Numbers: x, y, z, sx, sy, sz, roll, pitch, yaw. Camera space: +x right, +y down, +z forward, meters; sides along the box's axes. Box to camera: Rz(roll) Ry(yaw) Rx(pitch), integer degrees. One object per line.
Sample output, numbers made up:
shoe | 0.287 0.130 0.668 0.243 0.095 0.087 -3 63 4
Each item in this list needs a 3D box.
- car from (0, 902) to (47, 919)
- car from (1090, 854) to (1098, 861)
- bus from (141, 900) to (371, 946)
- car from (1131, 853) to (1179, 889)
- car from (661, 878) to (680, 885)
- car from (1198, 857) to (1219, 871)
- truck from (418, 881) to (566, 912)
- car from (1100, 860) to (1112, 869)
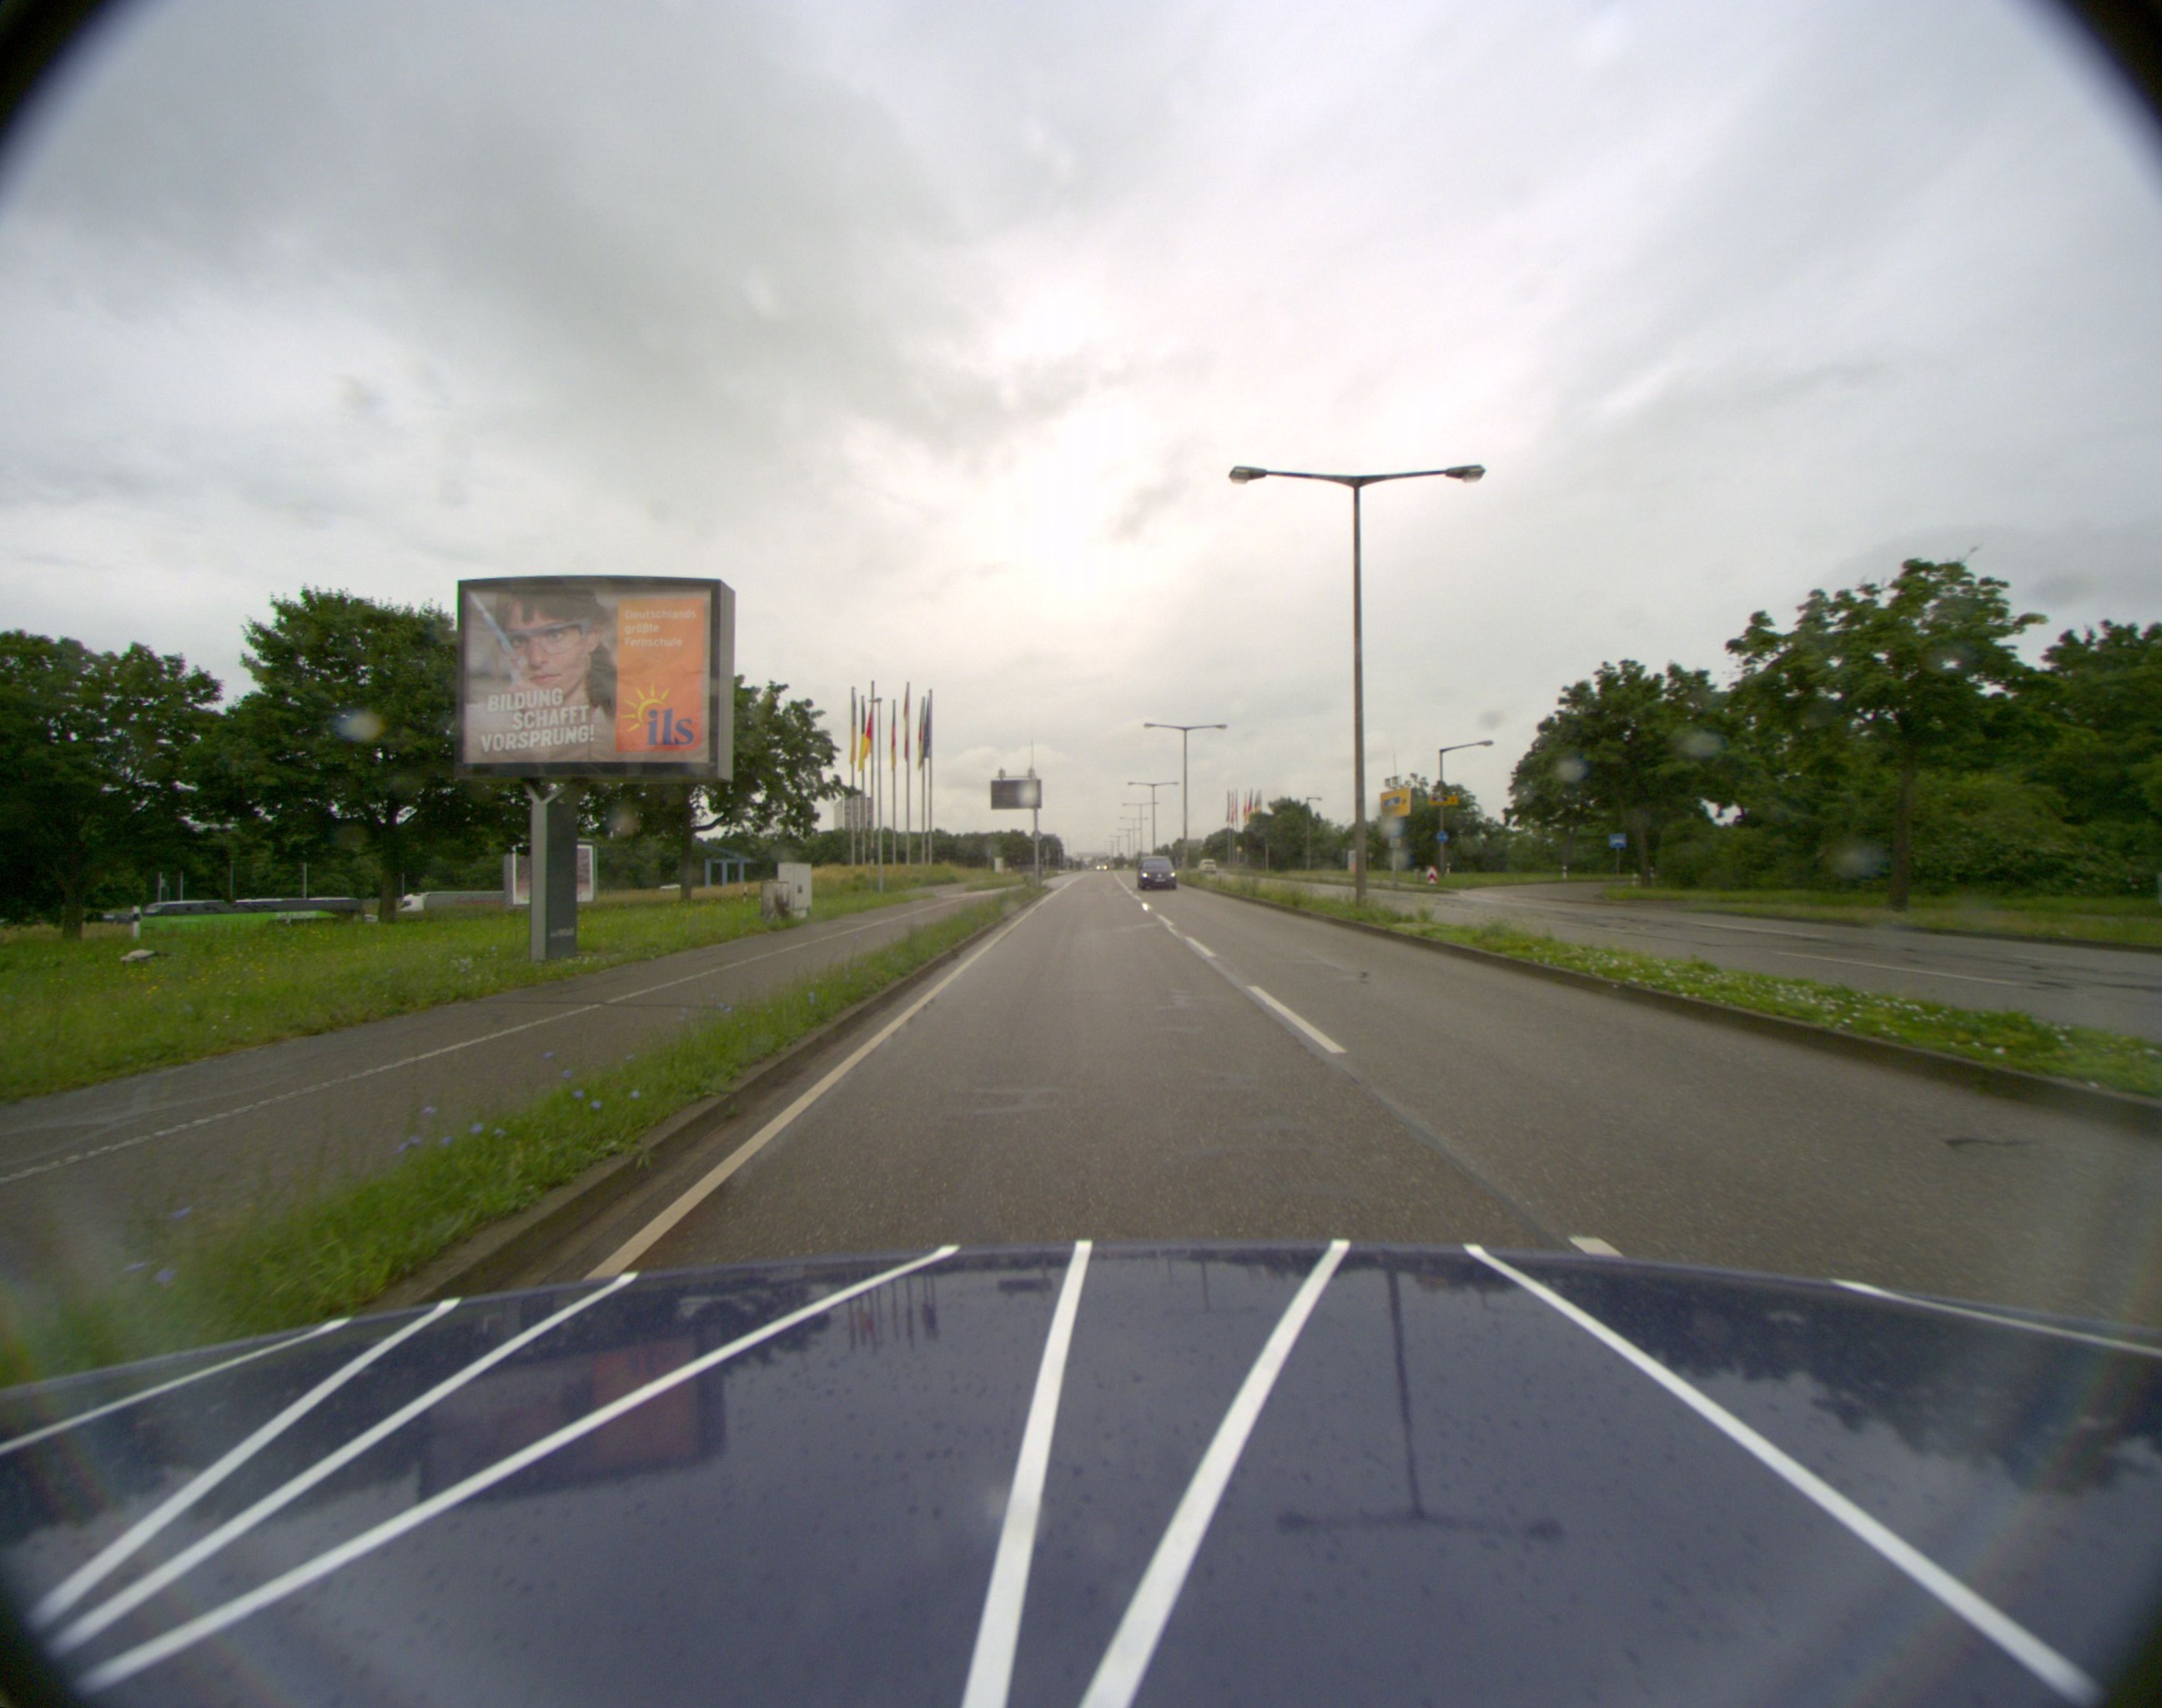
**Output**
car | -128.047 6.797 91.326 4.003 1.820 1.838 -2 0 -20
car | 3.178 0.812 191.027 1.998 1.703 4.000 -1 -1 0
bus | -75.852 6.226 70.800 2.757 2.664 14.608 -1 1 18
car | 3.845 0.888 40.055 1.850 1.740 4.817 -1 -1 -2
car | -104.549 7.029 193.546 4.007 1.622 1.995 -2 0 -35
car | 14.697 1.143 87.574 1.711 1.620 4.492 1 0 1
truck | -82.350 5.913 106.728 16.279 3.370 2.745 -2 0 -20
car | 4.679 1.973 143.599 1.998 1.700 4.000 -2 0 0
